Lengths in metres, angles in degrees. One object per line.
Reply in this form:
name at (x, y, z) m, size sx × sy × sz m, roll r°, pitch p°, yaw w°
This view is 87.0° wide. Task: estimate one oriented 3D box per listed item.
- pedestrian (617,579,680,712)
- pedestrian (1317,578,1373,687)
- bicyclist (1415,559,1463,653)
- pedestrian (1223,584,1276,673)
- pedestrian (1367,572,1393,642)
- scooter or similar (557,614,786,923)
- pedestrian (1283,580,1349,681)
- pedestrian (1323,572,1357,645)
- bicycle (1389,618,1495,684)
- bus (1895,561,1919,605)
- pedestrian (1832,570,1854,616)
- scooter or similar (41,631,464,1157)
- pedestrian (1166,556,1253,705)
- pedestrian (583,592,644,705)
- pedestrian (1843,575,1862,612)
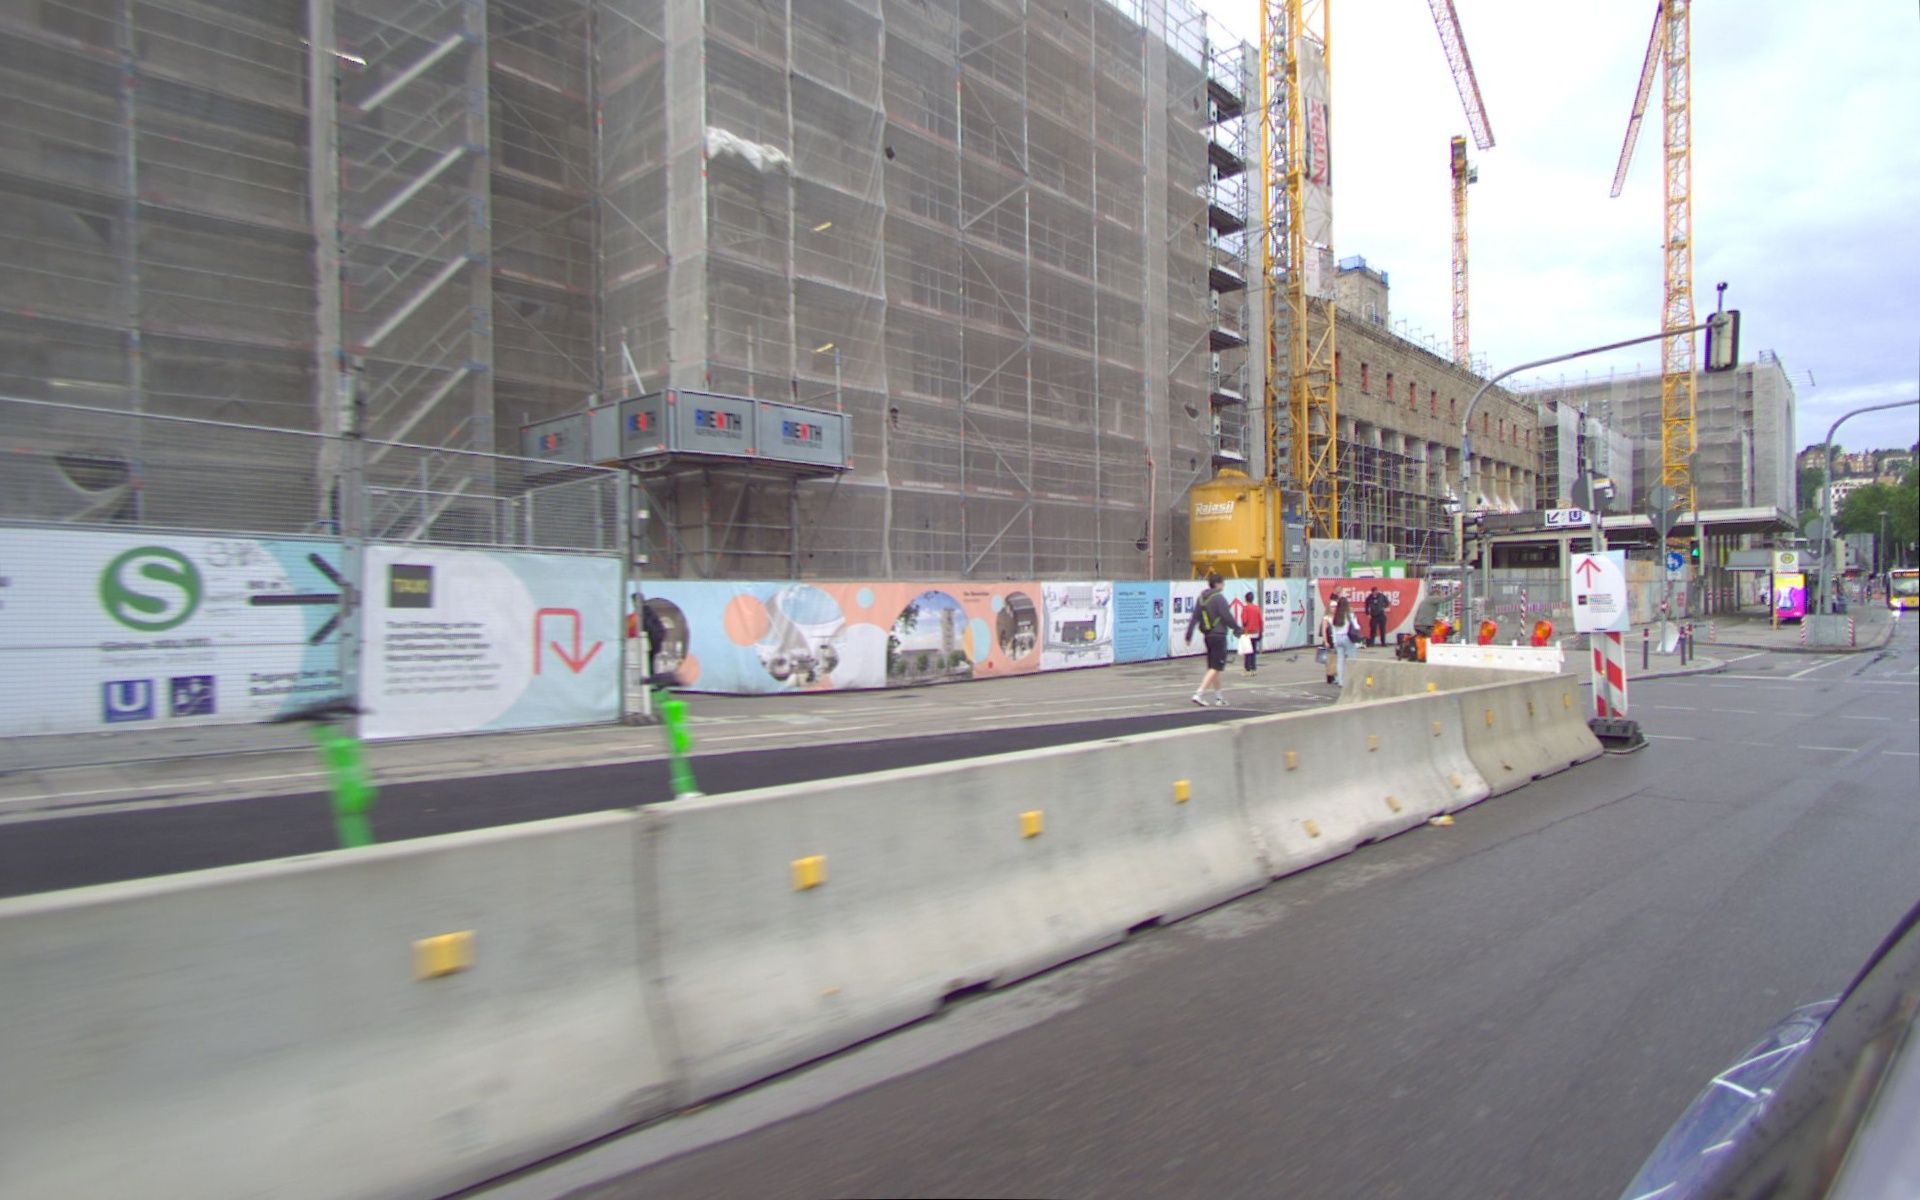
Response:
pedestrian at (-4.564, 0.631, 14.797) m, size 0.662 × 1.872 × 1.004 m, roll 0°, pitch 1°, yaw -30°
pedestrian at (6.703, 0.541, 17.615) m, size 0.798 × 1.776 × 0.808 m, roll 2°, pitch 4°, yaw 28°
bicyclist at (9.002, 0.107, 19.045) m, size 0.425 × 1.726 × 0.698 m, roll 0°, pitch 0°, yaw -27°
pedestrian at (5.849, 0.571, 20.483) m, size 0.730 × 1.749 × 0.713 m, roll 0°, pitch -1°, yaw -40°
pedestrian at (12.298, 0.200, 29.650) m, size 0.618 × 2.039 × 0.576 m, roll 0°, pitch 0°, yaw 13°
scooter or similar at (-1.382, 0.752, 4.875) m, size 1.003 × 1.350 × 0.494 m, roll 0°, pitch 0°, yaw -18°
pedestrian at (6.457, 0.530, 18.358) m, size 0.866 × 1.778 × 0.815 m, roll 0°, pitch 0°, yaw -40°
pedestrian at (10.839, 0.238, 28.871) m, size 0.615 × 2.039 × 0.642 m, roll 0°, pitch 0°, yaw -21°
bicycle at (9.100, 0.935, 19.089) m, size 1.951 × 1.148 × 0.757 m, roll -1°, pitch 0°, yaw -26°
bus at (72.690, -1.271, 76.427) m, size 2.990 × 3.177 × 7.647 m, roll 0°, pitch 1°, yaw 42°
pedestrian at (39.959, -0.322, 45.795) m, size 0.731 × 2.039 × 0.637 m, roll 0°, pitch 1°, yaw 39°
scooter or similar at (-2.231, 0.801, 3.262) m, size 0.523 × 1.350 × 1.011 m, roll 0°, pitch 0°, yaw 37°
pedestrian at (3.555, 0.427, 14.434) m, size 0.849 × 2.037 × 0.789 m, roll 3°, pitch -2°, yaw -36°
pedestrian at (-5.625, 0.761, 16.434) m, size 0.813 × 1.778 × 0.639 m, roll 0°, pitch 0°, yaw 44°
pedestrian at (45.389, -0.337, 51.471) m, size 0.722 × 1.846 × 0.645 m, roll -1°, pitch 1°, yaw -41°
